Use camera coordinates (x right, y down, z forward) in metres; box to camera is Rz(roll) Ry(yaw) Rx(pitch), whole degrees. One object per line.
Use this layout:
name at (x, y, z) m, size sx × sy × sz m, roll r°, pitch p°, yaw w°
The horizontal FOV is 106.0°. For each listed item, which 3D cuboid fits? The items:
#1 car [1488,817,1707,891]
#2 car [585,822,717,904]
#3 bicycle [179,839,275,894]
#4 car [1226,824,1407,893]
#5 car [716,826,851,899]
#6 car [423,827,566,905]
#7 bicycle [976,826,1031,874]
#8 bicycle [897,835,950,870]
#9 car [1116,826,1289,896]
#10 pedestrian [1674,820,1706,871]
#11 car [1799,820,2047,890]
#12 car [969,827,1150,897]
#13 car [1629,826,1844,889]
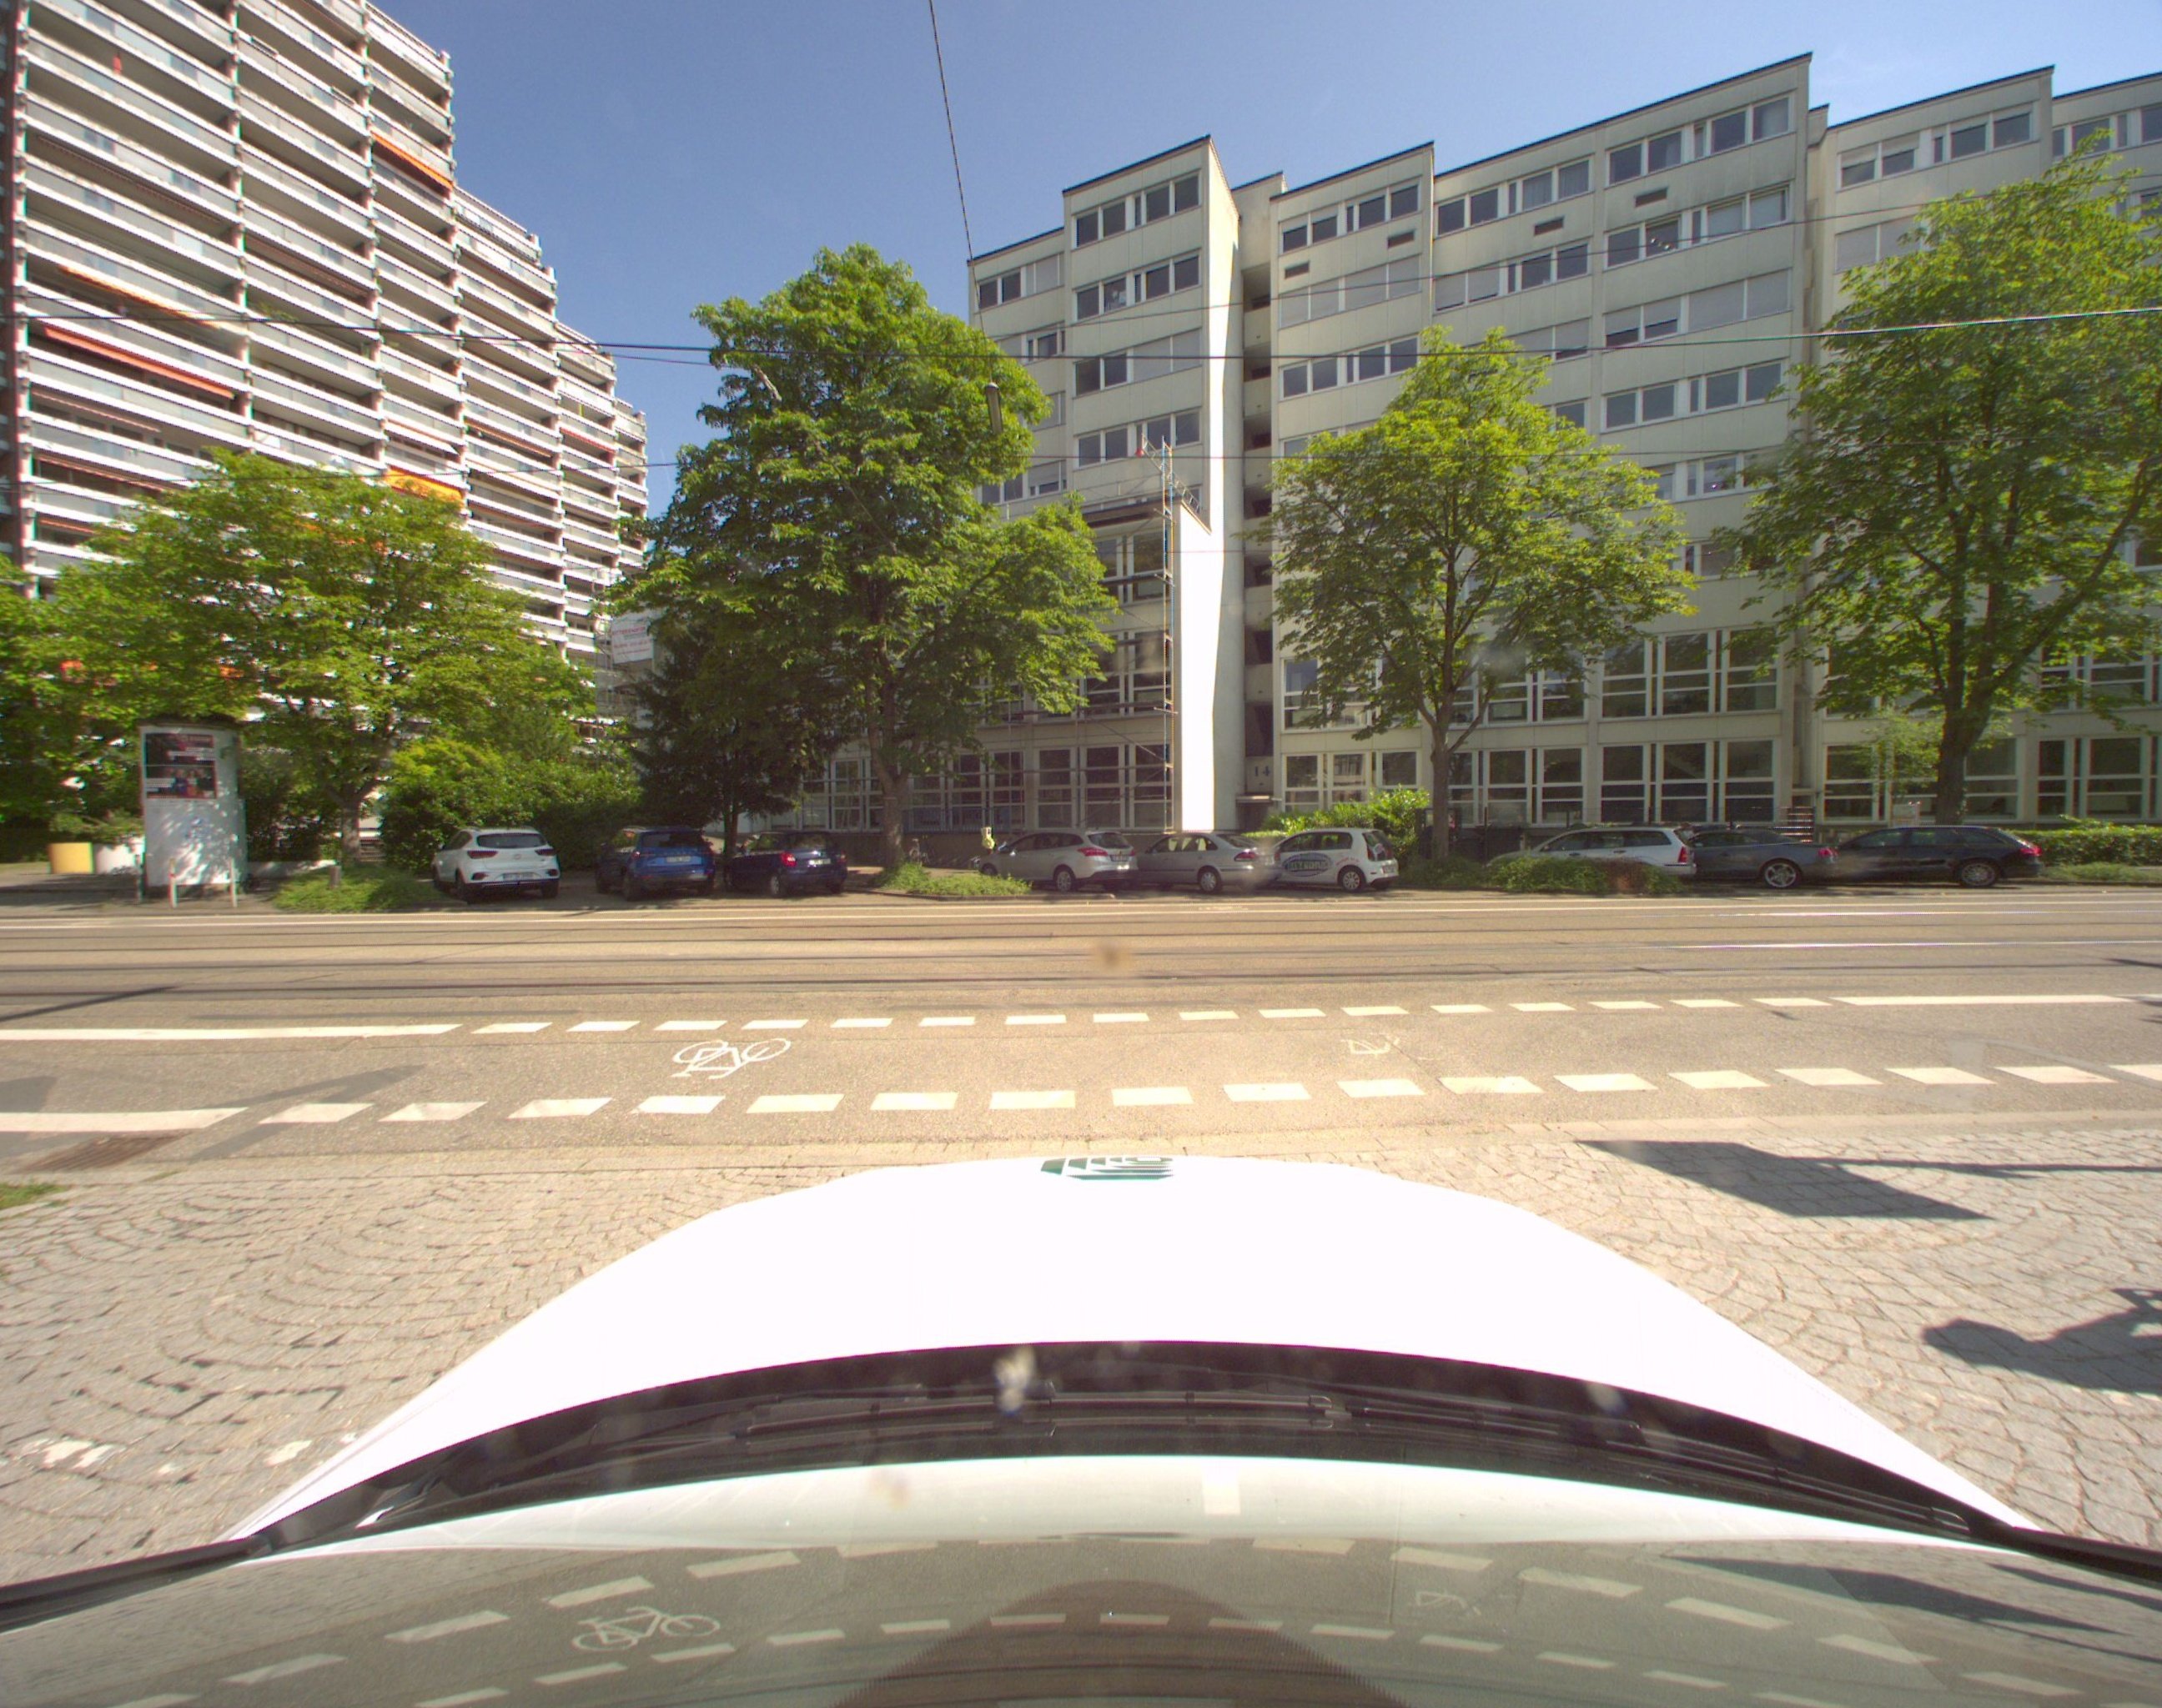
car at (12.403, -0.032, 19.727) m, size 4.289 × 1.604 × 1.568 m, roll 1°, pitch 1°, yaw 41°
car at (-10.033, 0.115, 18.888) m, size 1.790 × 1.622 × 3.899 m, roll -3°, pitch 4°, yaw -42°
bicycle at (-20.973, 0.296, 20.021) m, size 1.614 × 1.308 × 0.546 m, roll -1°, pitch 1°, yaw -7°
car at (5.601, 0.079, 19.661) m, size 1.623 × 1.486 × 3.896 m, roll -2°, pitch 2°, yaw -45°
car at (-6.969, 0.132, 18.961) m, size 3.415 × 1.530 × 1.586 m, roll 1°, pitch 2°, yaw 44°
car at (-13.452, 0.195, 18.620) m, size 3.895 × 1.606 × 1.831 m, roll 1°, pitch 2°, yaw 42°
bicycle at (-2.461, -0.153, 26.088) m, size 0.655 × 1.453 × 2.103 m, roll 0°, pitch 2°, yaw 30°
bicycle at (-5.188, -0.065, 26.953) m, size 0.735 × 1.085 × 2.214 m, roll 0°, pitch 2°, yaw 18°
car at (2.806, 0.092, 19.384) m, size 1.622 × 1.486 × 3.897 m, roll -2°, pitch 2°, yaw -44°
pedestrian at (17.837, -0.260, 23.868) m, size 0.618 × 1.460 × 0.424 m, roll -1°, pitch 1°, yaw -4°
car at (19.428, -0.031, 19.041) m, size 3.896 × 1.486 × 1.568 m, roll 1°, pitch 2°, yaw 44°
car at (-0.608, 0.116, 19.574) m, size 4.380 × 1.486 × 1.795 m, roll 1°, pitch 2°, yaw 44°
car at (15.647, 0.038, 19.567) m, size 3.896 × 1.357 × 1.568 m, roll 1°, pitch 2°, yaw 44°
